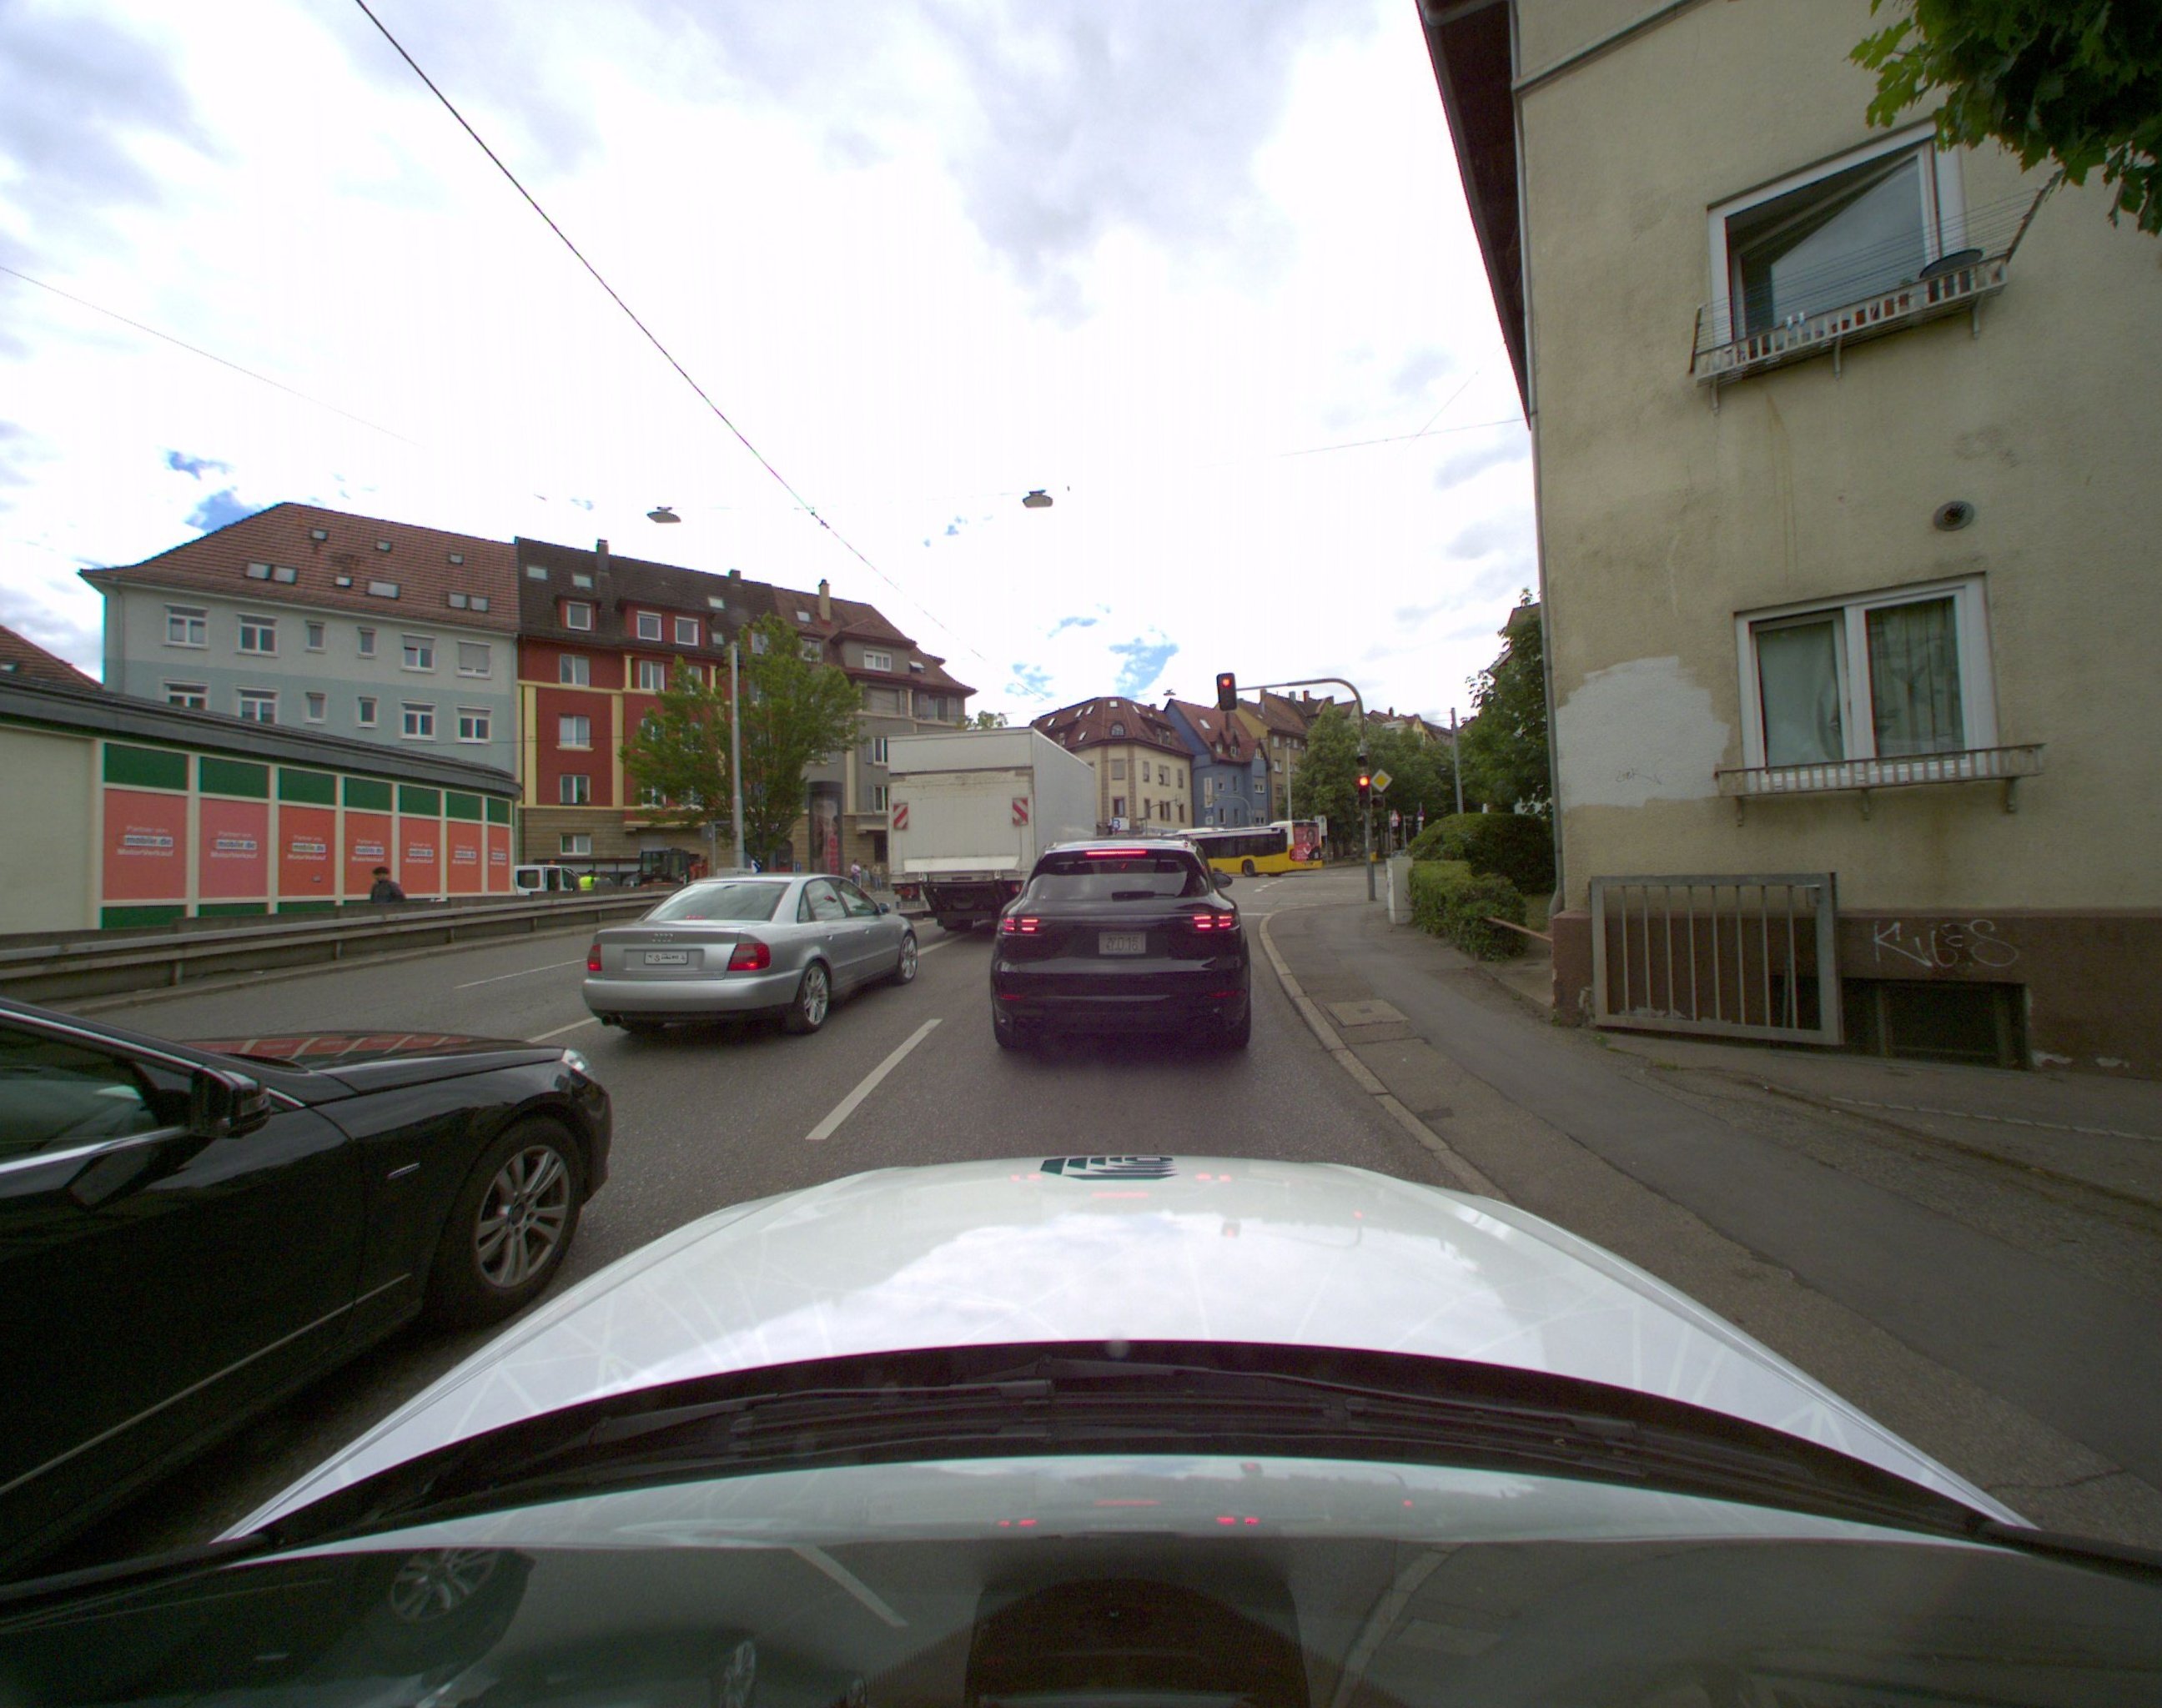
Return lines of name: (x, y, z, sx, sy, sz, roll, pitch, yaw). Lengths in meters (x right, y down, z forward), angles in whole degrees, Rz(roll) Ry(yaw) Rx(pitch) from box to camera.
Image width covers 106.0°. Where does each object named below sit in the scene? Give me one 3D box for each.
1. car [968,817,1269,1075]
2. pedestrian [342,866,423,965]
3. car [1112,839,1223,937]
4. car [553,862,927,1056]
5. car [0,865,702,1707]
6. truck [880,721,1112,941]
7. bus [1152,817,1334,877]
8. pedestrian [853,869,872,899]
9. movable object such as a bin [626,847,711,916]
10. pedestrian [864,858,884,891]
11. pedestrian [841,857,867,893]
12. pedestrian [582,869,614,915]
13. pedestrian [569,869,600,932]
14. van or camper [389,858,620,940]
car: (0.429, 0.615, 7.751, 2.022, 1.723, 4.506, 0, 0, 5)
pedestrian: (-12.104, 1.042, 14.133, 0.686, 1.637, 0.778, -2, 0, -2)
car: (1.688, 0.562, 14.860, 1.638, 1.556, 3.595, -1, -1, 12)
car: (-2.966, 0.816, 8.175, 1.620, 1.365, 4.135, -2, 0, 6)
car: (-2.875, 0.807, 1.418, 1.986, 1.429, 4.844, -2, 0, 2)
truck: (-1.278, -0.381, 17.538, 2.708, 3.544, 8.445, 0, 0, 10)
bus: (9.419, -0.270, 49.572, 3.180, 3.096, 12.022, -2, -1, -34)
pedestrian: (-10.025, 1.384, 37.389, 0.569, 1.338, 0.588, -2, 0, 41)
movable object such as a bin: (-13.149, 0.833, 26.155, 1.375, 2.013, 3.524, -2, 0, -10)
pedestrian: (-9.639, 0.965, 37.906, 0.517, 1.487, 0.658, -2, 0, 41)
pedestrian: (-10.222, 0.943, 36.699, 0.785, 1.546, 0.743, -2, 0, 28)
pedestrian: (-14.759, 1.159, 24.890, 0.594, 1.363, 0.630, -2, 0, 35)
pedestrian: (-16.368, 1.522, 26.829, 0.829, 2.013, 0.673, -1, 0, -32)
van or camper: (-18.990, 1.374, 27.265, 6.028, 2.338, 2.661, -1, 0, -33)
